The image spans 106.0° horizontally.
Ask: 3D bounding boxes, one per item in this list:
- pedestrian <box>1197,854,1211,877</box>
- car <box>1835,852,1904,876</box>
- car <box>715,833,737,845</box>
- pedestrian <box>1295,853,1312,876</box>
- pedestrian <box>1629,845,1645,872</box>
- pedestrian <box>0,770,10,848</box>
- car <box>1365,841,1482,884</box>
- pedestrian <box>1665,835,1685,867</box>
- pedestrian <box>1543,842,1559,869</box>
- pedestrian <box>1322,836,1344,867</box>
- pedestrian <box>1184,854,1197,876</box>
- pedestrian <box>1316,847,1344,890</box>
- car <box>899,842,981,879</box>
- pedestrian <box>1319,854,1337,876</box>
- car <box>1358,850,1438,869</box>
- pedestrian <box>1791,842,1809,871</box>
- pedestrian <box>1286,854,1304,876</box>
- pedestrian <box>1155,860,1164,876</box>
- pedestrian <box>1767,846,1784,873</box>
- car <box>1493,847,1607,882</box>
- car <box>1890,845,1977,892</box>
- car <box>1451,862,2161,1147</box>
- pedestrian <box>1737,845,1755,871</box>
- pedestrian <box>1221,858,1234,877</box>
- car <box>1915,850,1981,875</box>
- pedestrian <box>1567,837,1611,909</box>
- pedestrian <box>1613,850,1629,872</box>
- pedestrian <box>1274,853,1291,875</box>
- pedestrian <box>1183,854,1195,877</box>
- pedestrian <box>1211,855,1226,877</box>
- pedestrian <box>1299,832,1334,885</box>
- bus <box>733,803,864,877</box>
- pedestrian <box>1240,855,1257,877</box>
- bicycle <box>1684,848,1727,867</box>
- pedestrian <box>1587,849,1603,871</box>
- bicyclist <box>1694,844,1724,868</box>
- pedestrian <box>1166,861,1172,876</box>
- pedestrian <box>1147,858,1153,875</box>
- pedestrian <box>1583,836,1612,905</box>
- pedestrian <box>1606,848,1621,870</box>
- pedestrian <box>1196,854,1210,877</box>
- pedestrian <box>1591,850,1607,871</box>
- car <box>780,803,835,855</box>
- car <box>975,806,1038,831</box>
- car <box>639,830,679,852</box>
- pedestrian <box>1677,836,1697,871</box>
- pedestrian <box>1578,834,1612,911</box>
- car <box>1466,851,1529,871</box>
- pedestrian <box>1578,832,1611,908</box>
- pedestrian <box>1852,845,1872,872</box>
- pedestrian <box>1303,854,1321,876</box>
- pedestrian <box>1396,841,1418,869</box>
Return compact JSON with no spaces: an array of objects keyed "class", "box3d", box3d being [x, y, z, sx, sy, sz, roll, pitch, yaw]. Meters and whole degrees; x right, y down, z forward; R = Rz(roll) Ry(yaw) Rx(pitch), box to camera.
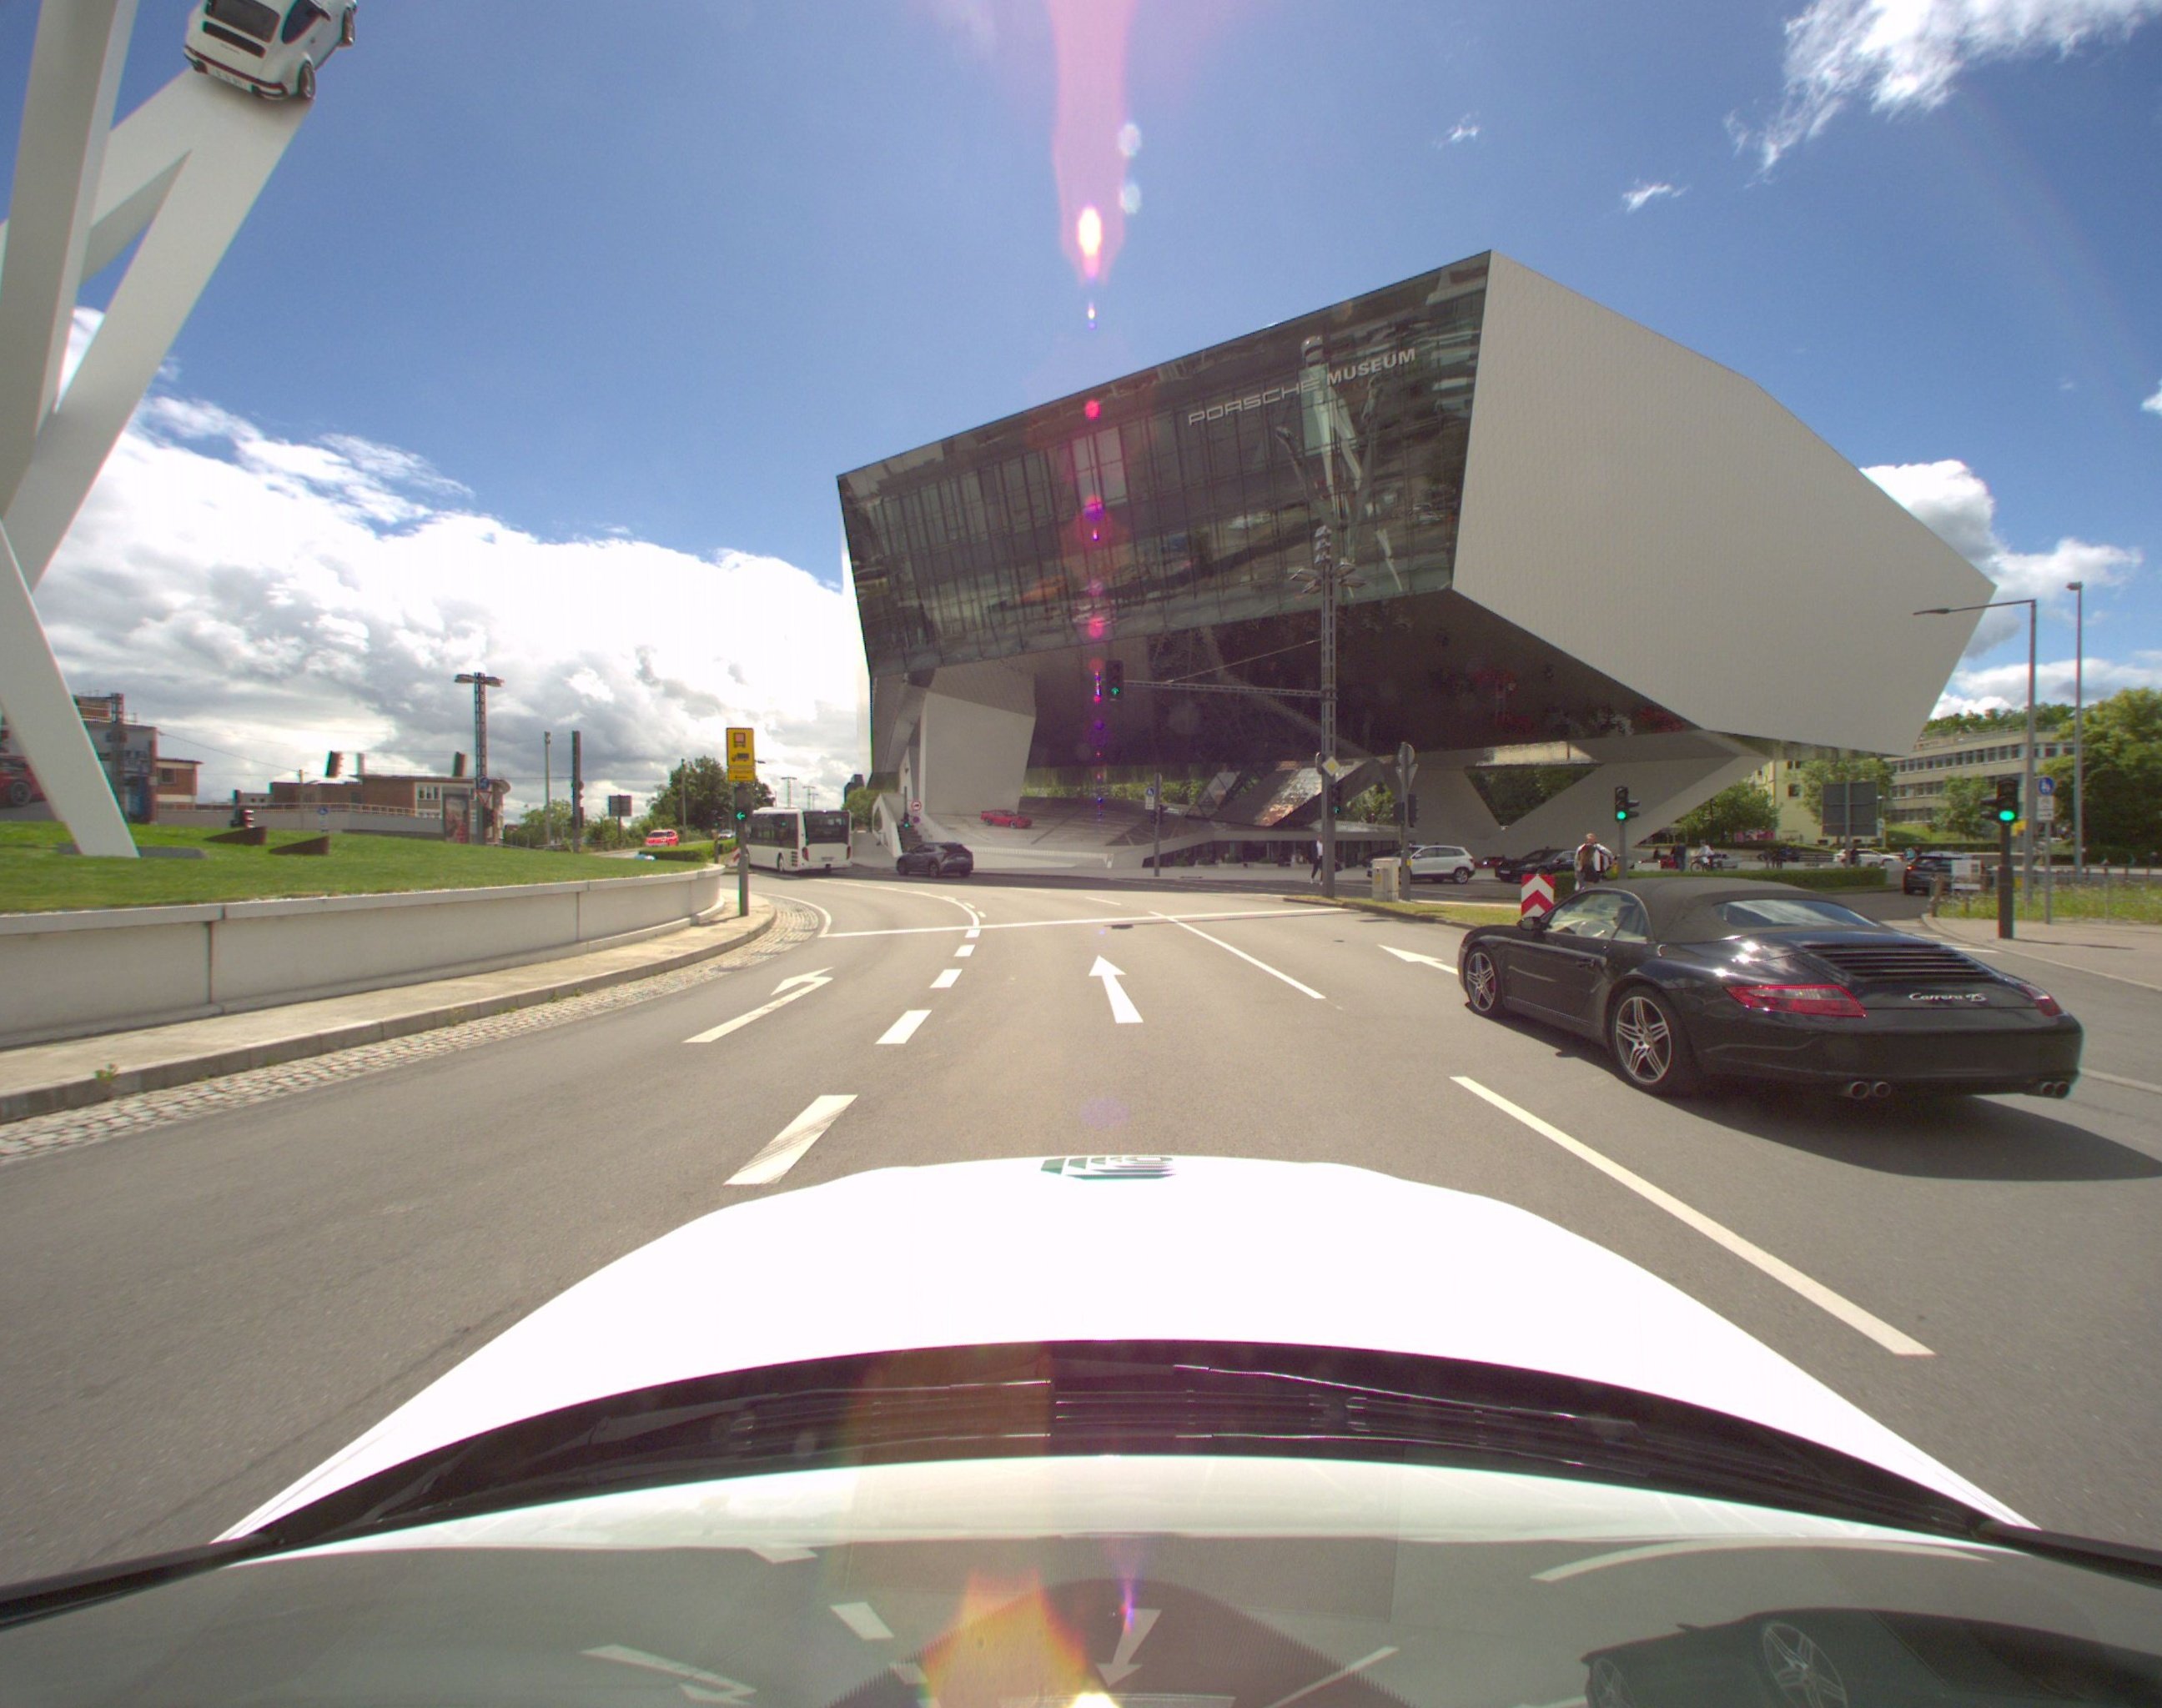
[{"class":"pedestrian","box3d":[8.843,0.832,58.462,0.914,1.573,0.833,0,-1,12]},{"class":"car","box3d":[69.944,0.895,72.335,4.157,2.014,2.012,0,-2,37]},{"class":"car","box3d":[-45.197,-1.963,103.833,1.757,1.397,4.653,1,2,-14]},{"class":"pedestrian","box3d":[15.795,0.760,57.850,0.831,1.573,0.916,1,-1,-24]},{"class":"pedestrian","box3d":[45.036,0.368,65.986,0.830,2.114,0.769,1,-2,-31]},{"class":"pedestrian","box3d":[-20.213,-0.802,14.540,0.848,1.407,0.967,-6,-2,7]},{"class":"car","box3d":[13.905,0.344,33.141,3.986,1.550,1.833,-2,-1,-9]},{"class":"pedestrian","box3d":[37.583,-0.169,51.547,0.831,2.014,0.769,1,-2,-33]},{"class":"pedestrian","box3d":[35.353,0.127,61.266,0.831,2.014,0.769,1,-2,-33]},{"class":"pedestrian","box3d":[15.179,-0.136,49.061,0.831,1.826,0.916,1,-1,-24]},{"class":"pedestrian","box3d":[7.915,0.830,58.803,0.822,1.573,0.926,0,-1,12]},{"class":"pedestrian","box3d":[8.725,0.497,28.590,0.762,1.496,0.586,-1,-2,43]},{"class":"car","box3d":[-6.680,0.294,38.244,2.011,1.636,3.952,-2,0,-41]},{"class":"pedestrian","box3d":[17.780,0.790,58.590,0.830,1.573,0.918,1,-1,-18]},{"class":"car","box3d":[21.448,0.375,55.202,4.619,1.221,2.012,-1,-2,42]},{"class":"pedestrian","box3d":[51.623,0.193,58.492,0.831,2.014,0.769,1,-2,-33]},{"class":"pedestrian","box3d":[15.418,0.767,58.717,0.831,1.573,0.916,1,-1,-24]},{"class":"pedestrian","box3d":[6.096,1.063,63.481,0.555,1.253,0.477,0,-2,25]},{"class":"pedestrian","box3d":[52.719,0.406,61.844,0.831,2.014,0.769,1,-2,-33]},{"class":"car","box3d":[19.566,0.417,34.007,4.156,1.383,1.827,1,1,-19]},{"class":"car","box3d":[33.367,0.571,31.854,4.019,1.703,1.977,1,-2,-38]},{"class":"car","box3d":[4.423,0.753,5.929,1.826,1.325,4.004,-1,0,3]},{"class":"pedestrian","box3d":[50.483,0.309,61.869,0.829,2.014,0.770,1,-2,-26]},{"class":"pedestrian","box3d":[10.352,0.953,57.476,0.636,1.318,0.698,0,-2,33]},{"class":"car","box3d":[59.508,0.606,55.922,4.004,1.643,1.872,1,-1,-24]},{"class":"pedestrian","box3d":[11.855,0.435,19.013,0.622,1.638,0.666,1,-2,-29]},{"class":"pedestrian","box3d":[43.908,0.550,66.182,0.830,1.739,0.769,1,-2,-30]},{"class":"pedestrian","box3d":[14.339,0.724,57.931,0.831,1.573,0.916,1,-1,-24]},{"class":"pedestrian","box3d":[7.662,0.807,57.702,0.823,1.573,0.925,0,-1,7]},{"class":"pedestrian","box3d":[9.793,0.831,58.007,0.785,1.573,0.698,-1,-2,37]},{"class":"pedestrian","box3d":[9.118,0.160,31.571,0.950,1.984,1.382,0,1,1]},{"class":"bus","box3d":[-15.259,-0.761,43.111,3.095,3.362,12.090,1,0,-36]},{"class":"pedestrian","box3d":[12.142,0.894,58.898,0.831,1.573,0.916,1,-1,-24]},{"class":"bicycle","box3d":[33.207,0.196,43.292,2.359,0.973,0.713,1,-1,-21]},{"class":"pedestrian","box3d":[40.852,0.496,64.738,0.831,1.739,0.769,1,-2,-33]},{"class":"bicyclist","box3d":[33.368,0.102,43.297,1.007,1.275,0.880,1,-1,-22]},{"class":"pedestrian","box3d":[7.066,1.153,65.287,0.470,1.253,0.563,0,-1,7]},{"class":"pedestrian","box3d":[5.026,0.927,59.417,0.393,1.253,0.400,1,-1,-5]},{"class":"pedestrian","box3d":[13.481,0.436,21.268,0.599,1.759,0.624,0,-2,31]},{"class":"pedestrian","box3d":[42.726,0.417,65.301,0.831,1.739,0.768,2,-2,-38]},{"class":"pedestrian","box3d":[8.617,0.809,57.357,0.914,1.573,0.833,0,-1,12]},{"class":"pedestrian","box3d":[41.955,0.529,65.946,0.830,1.739,0.769,1,-2,-31]},{"class":"car","box3d":[-21.134,-1.759,62.502,3.349,3.504,9.271,1,-1,-22]},{"class":"car","box3d":[-5.770,-2.774,63.024,4.456,1.394,2.013,8,8,31]},{"class":"car","box3d":[-40.643,-1.267,78.576,1.994,1.983,4.821,-1,1,-10]},{"class":"pedestrian","box3d":[35.083,-0.043,47.161,0.767,2.014,0.832,0,-2,23]},{"class":"pedestrian","box3d":[12.343,0.440,19.573,0.664,1.795,0.624,0,-2,32]},{"class":"car","box3d":[32.808,0.581,64.248,3.972,1.549,2.000,0,-1,1]},{"class":"pedestrian","box3d":[12.794,0.395,20.309,0.664,1.847,0.624,0,-2,30]},{"class":"pedestrian","box3d":[58.752,0.335,61.271,0.818,2.014,0.781,0,-1,21]},{"class":"pedestrian","box3d":[16.709,0.787,58.876,0.831,1.573,0.916,1,-1,-24]},{"class":"pedestrian","box3d":[19.790,0.058,49.433,0.831,1.676,0.916,1,-1,-24]}]
